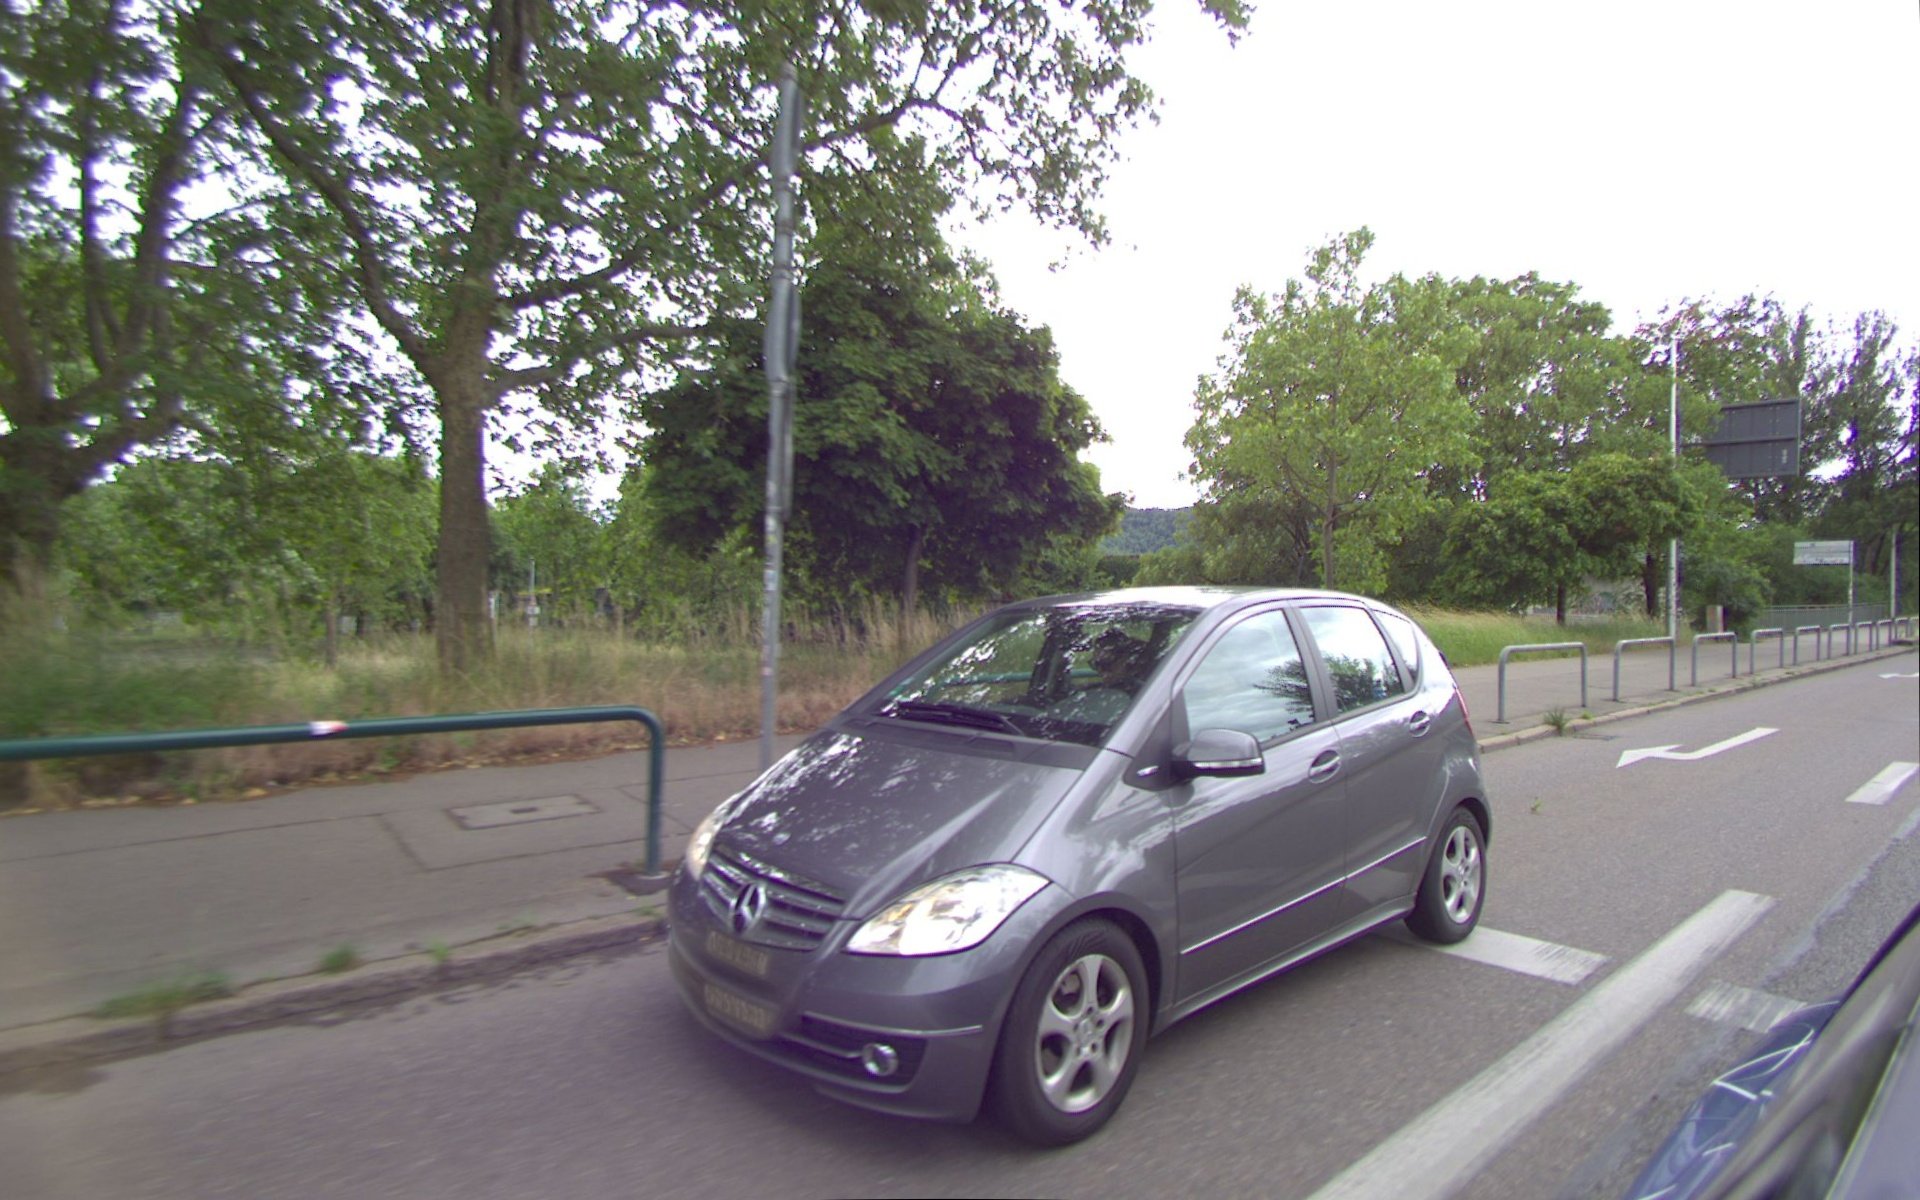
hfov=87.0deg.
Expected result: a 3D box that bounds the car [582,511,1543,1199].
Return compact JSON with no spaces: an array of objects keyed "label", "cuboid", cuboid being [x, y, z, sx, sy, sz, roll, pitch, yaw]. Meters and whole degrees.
[{"label":"car","cuboid":[0.726,0.649,4.293,3.963,1.637,1.829,2,-1,-41]}]
